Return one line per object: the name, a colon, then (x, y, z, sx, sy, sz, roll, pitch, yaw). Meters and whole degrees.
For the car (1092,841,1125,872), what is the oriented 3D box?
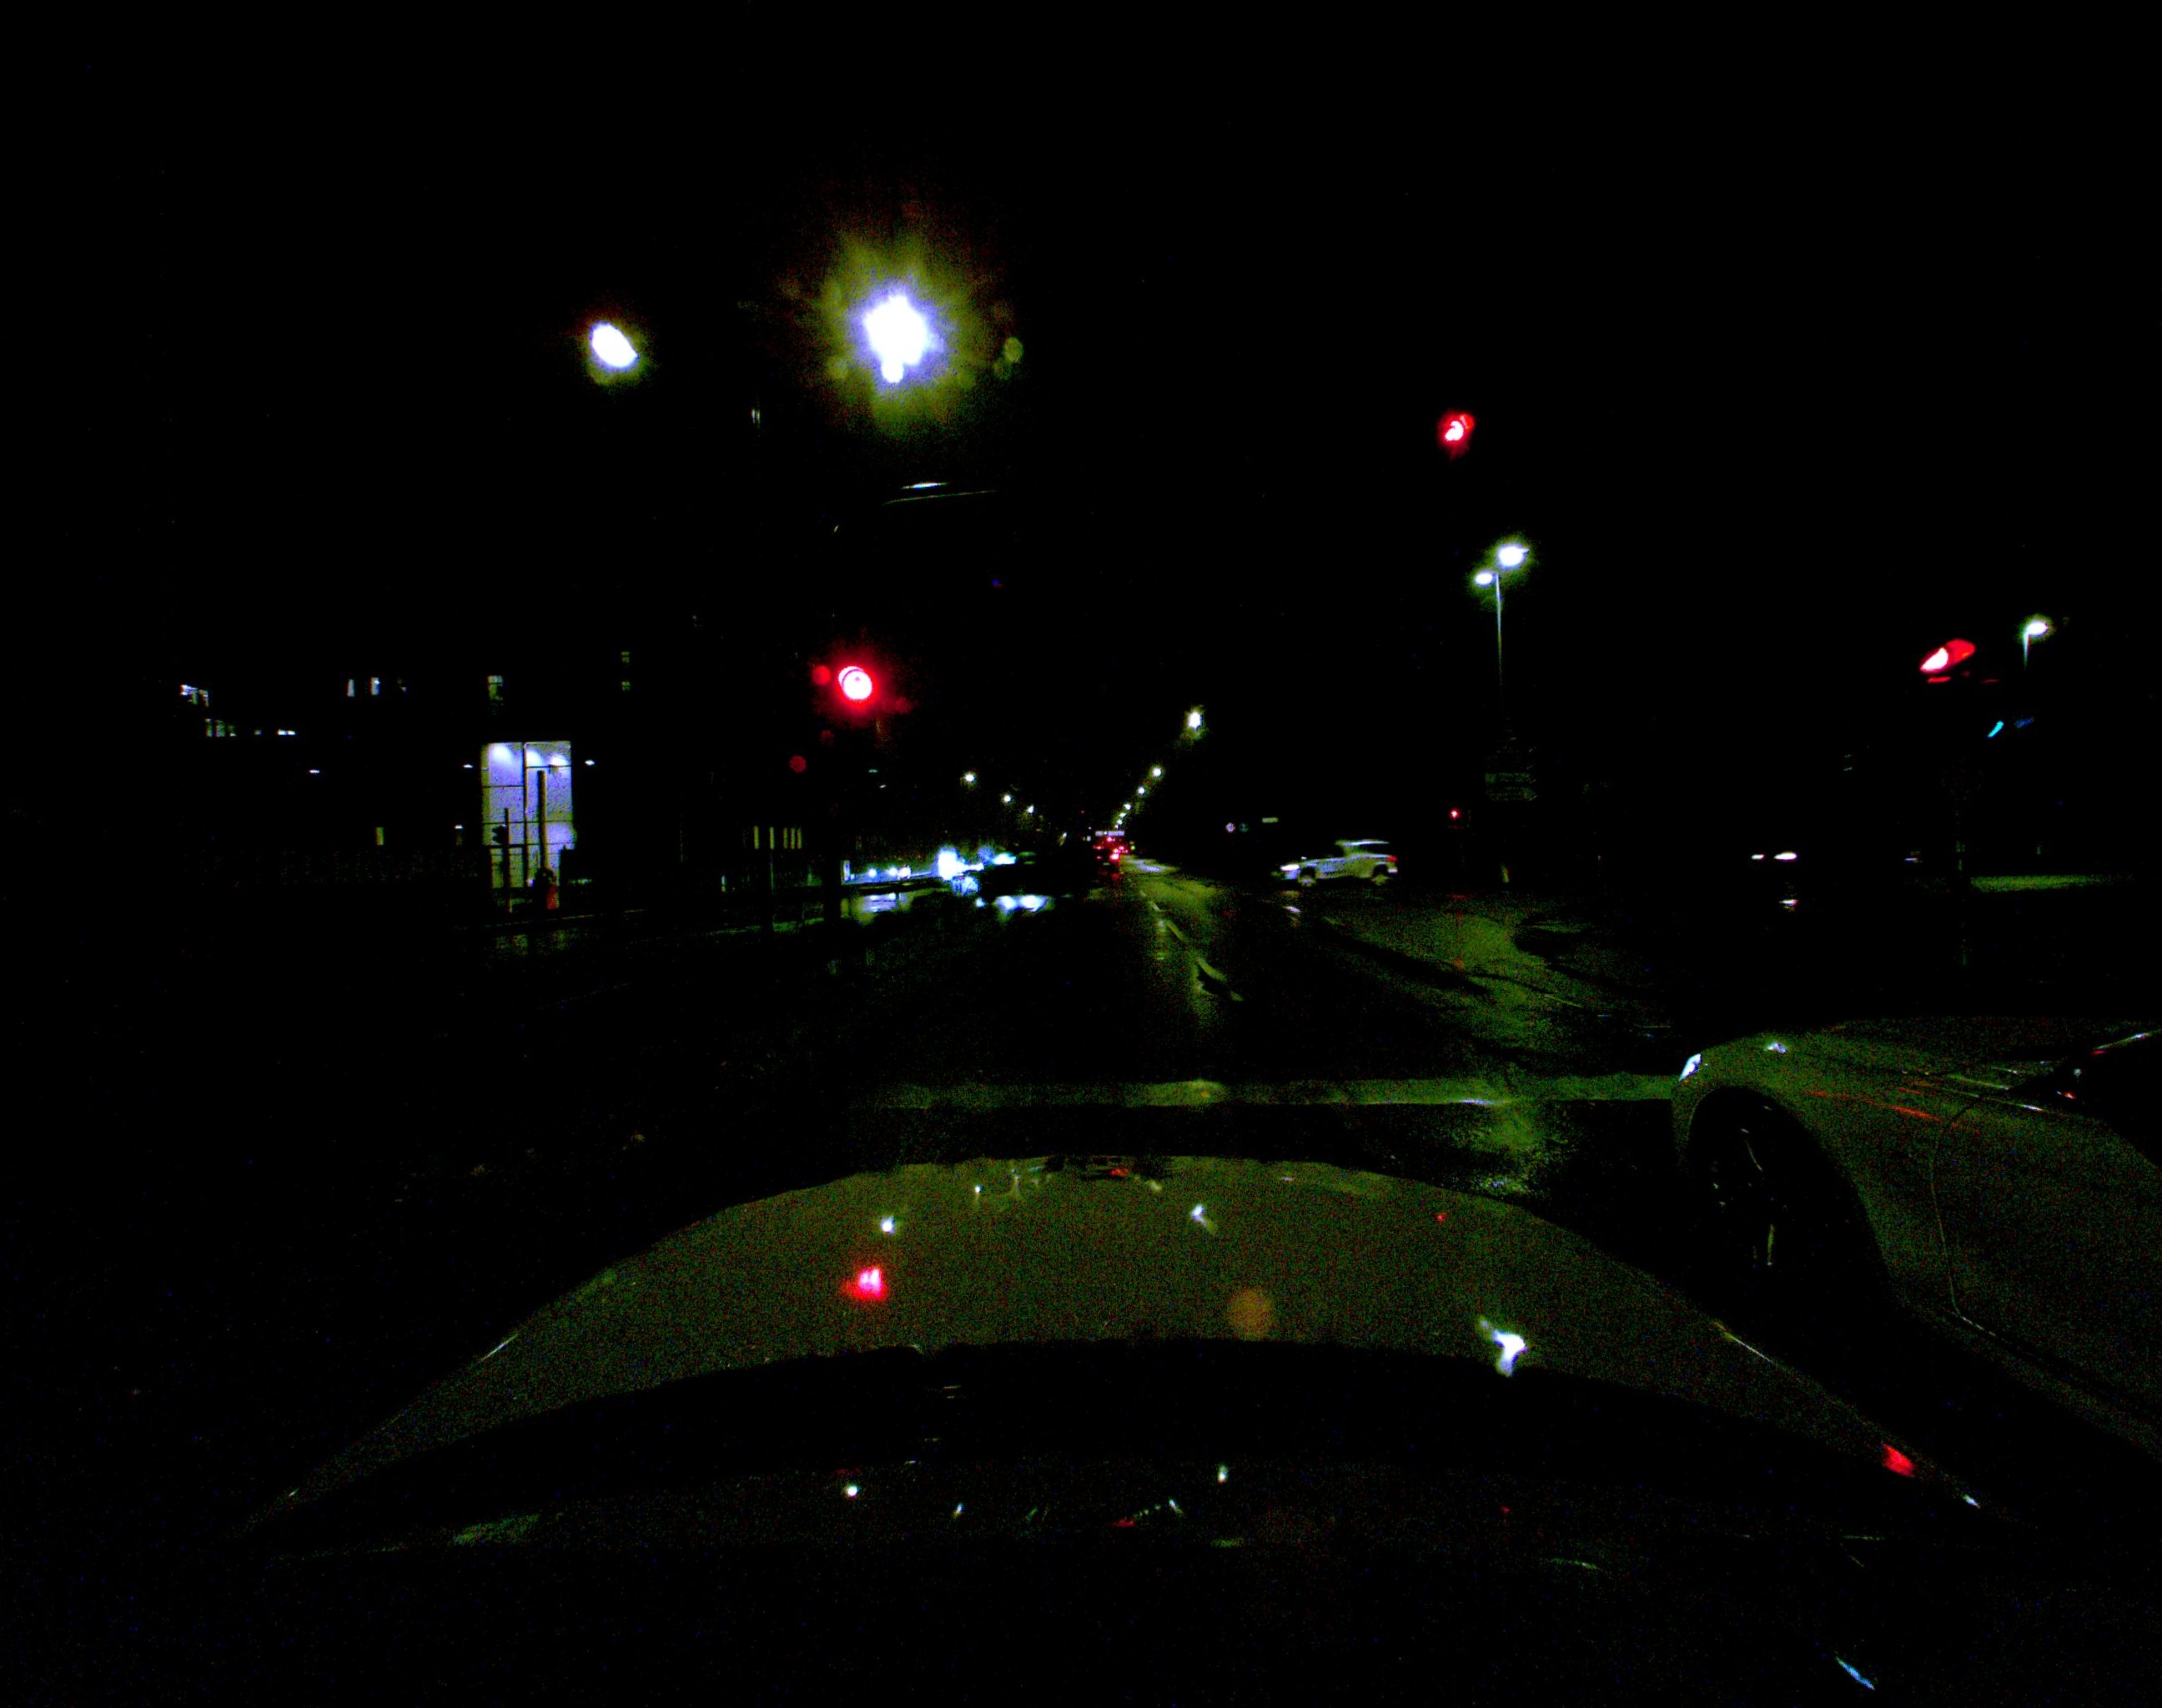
car: (1.820, 0.208, 55.840, 1.988, 2.014, 4.629, 0, -1, -1)

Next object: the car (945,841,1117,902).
car: (-1.511, 0.506, 25.049, 4.928, 1.741, 1.954, 0, -1, -27)

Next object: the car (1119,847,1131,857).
car: (8.141, -0.307, 150.489, 1.986, 1.759, 4.001, 0, -1, 2)

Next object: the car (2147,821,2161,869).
car: (38.591, -0.443, 26.814, 4.049, 1.589, 1.914, -2, -5, 4)

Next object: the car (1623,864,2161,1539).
car: (3.113, 0.731, 1.295, 1.710, 1.404, 4.351, 0, 0, 2)

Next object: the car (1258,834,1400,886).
car: (8.602, 0.201, 28.518, 4.371, 1.741, 1.909, 0, -1, -1)

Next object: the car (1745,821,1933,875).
car: (25.604, -0.188, 27.643, 4.469, 1.749, 1.863, 0, -1, 5)
